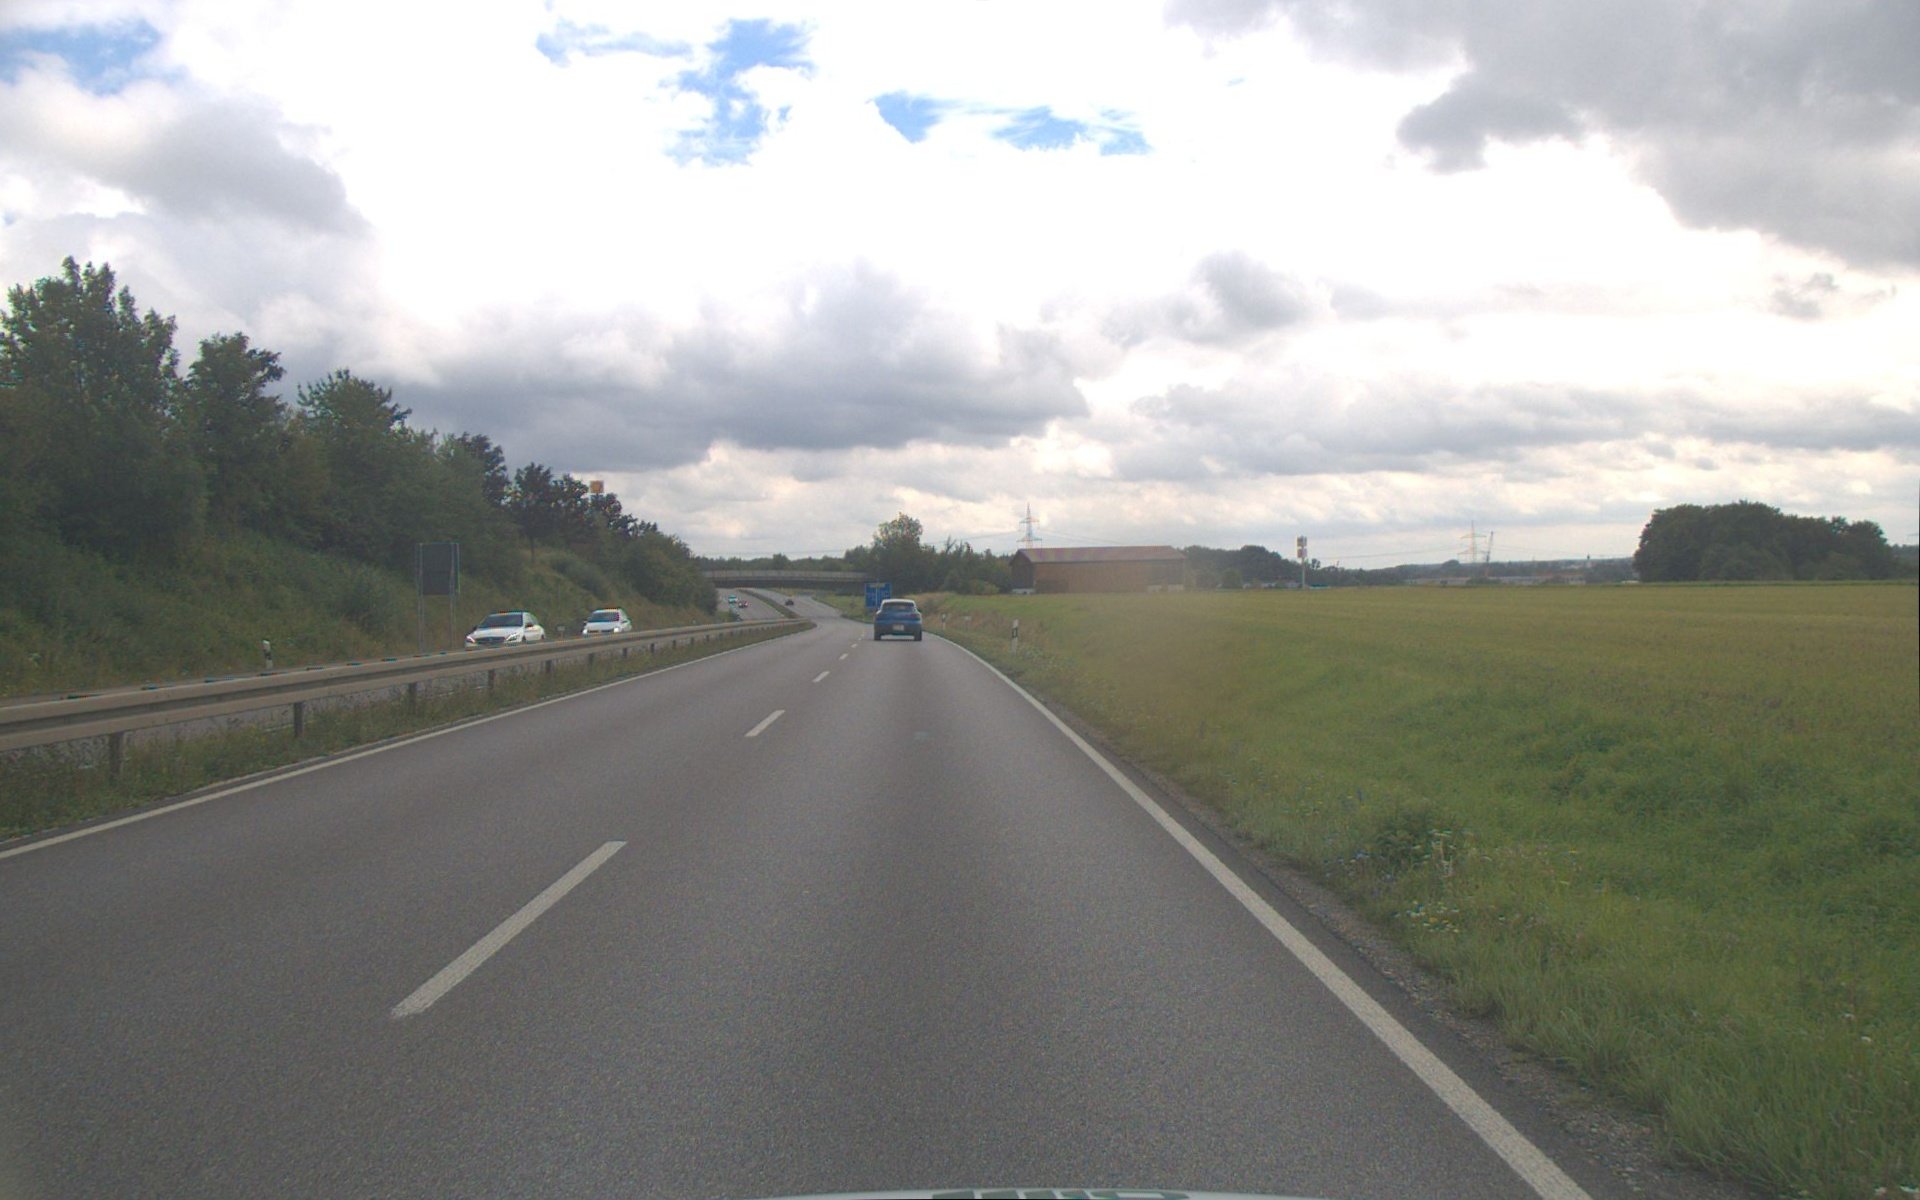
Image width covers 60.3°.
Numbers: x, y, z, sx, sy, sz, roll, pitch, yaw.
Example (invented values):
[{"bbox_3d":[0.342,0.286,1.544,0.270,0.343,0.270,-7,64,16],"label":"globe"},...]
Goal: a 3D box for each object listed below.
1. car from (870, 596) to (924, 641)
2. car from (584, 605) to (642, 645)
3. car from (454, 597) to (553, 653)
[{"bbox_3d":[-2.566,0.706,66.538,1.993,1.689,4.540,0,1,-4],"label":"car"},{"bbox_3d":[-15.528,1.105,74.228,1.882,1.544,4.461,-1,2,-3],"label":"car"},{"bbox_3d":[-14.728,0.762,53.591,1.953,1.544,4.987,-1,2,-2],"label":"car"}]
